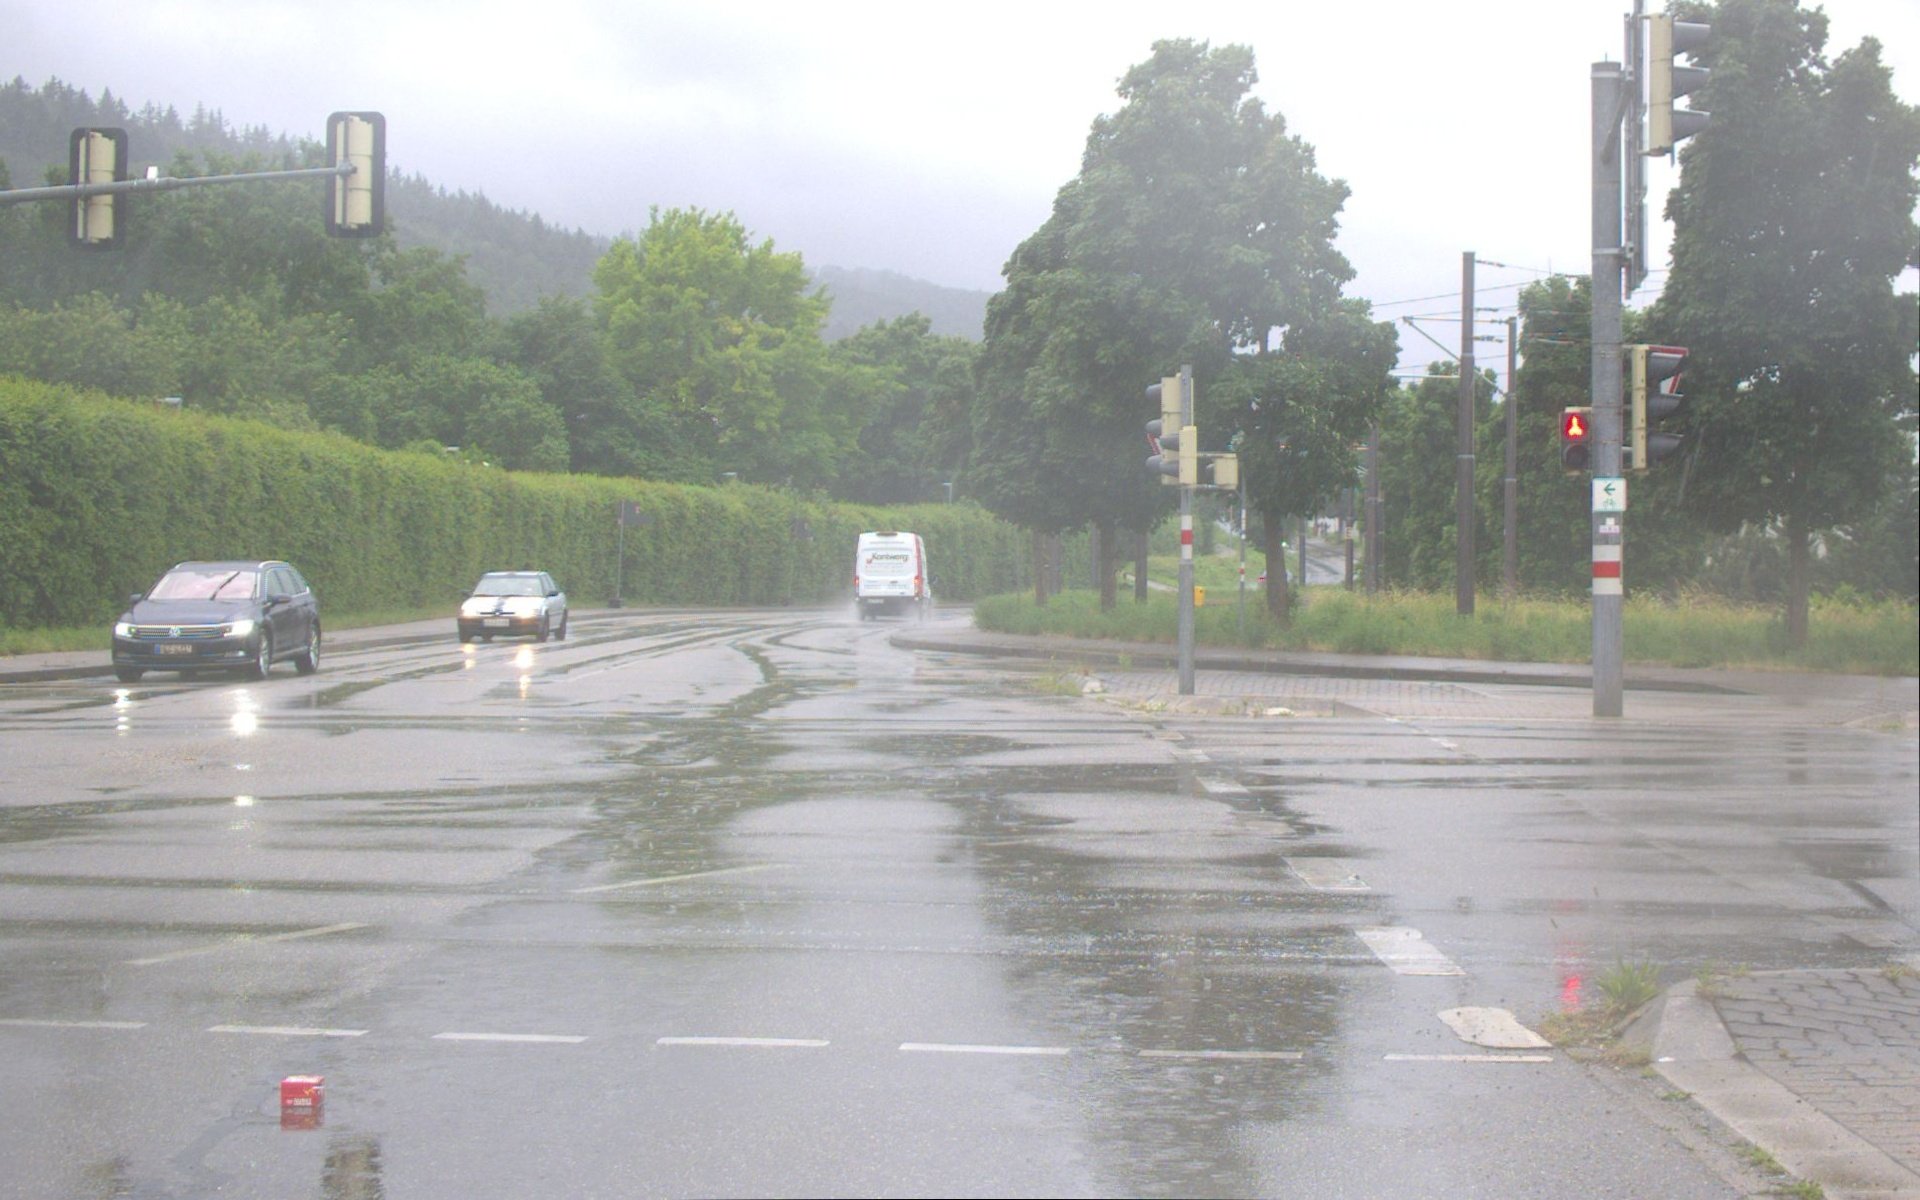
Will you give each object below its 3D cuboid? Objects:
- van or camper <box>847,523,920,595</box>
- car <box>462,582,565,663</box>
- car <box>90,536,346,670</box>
[{"bbox_3d":[-2.348,-1.285,106.566,2.153,2.161,4.865,1,1,0],"label":"van or camper"},{"bbox_3d":[-8.689,0.418,67.065,1.558,1.476,3.361,1,1,0],"label":"car"},{"bbox_3d":[-9.347,-0.004,43.710,1.879,1.568,4.644,-1,1,5],"label":"car"}]
